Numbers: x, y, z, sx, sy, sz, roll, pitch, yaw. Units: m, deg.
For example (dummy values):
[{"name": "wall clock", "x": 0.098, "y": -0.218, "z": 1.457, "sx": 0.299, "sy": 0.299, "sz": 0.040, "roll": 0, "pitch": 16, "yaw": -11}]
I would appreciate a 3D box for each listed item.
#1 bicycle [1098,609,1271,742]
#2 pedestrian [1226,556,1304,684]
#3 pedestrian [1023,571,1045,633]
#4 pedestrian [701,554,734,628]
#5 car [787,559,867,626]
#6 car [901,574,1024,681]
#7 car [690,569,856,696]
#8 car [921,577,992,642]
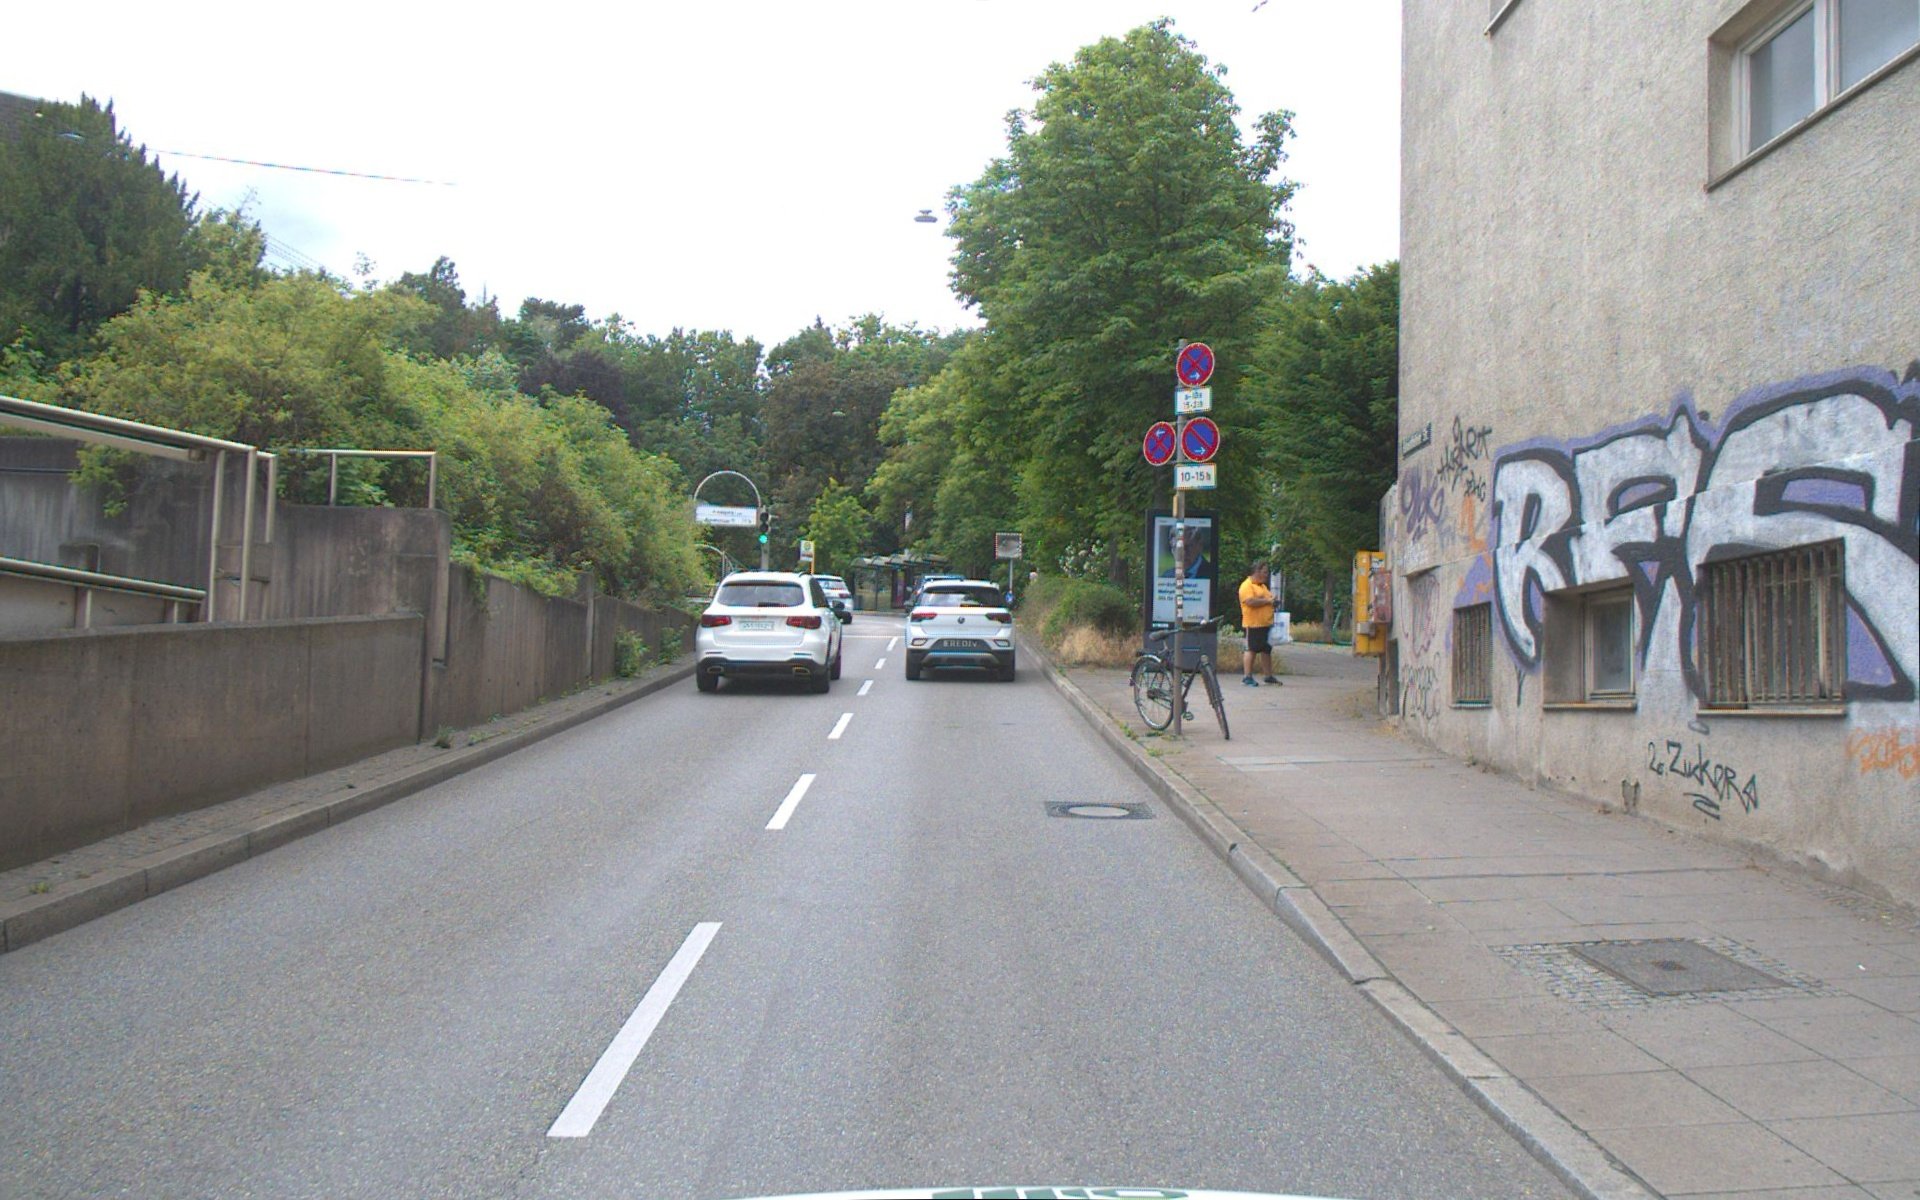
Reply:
[{"name": "bicycle", "x": 2.123, "y": 0.684, "z": 15.949, "sx": 0.631, "sy": 1.163, "sz": 2.049, "roll": -2, "pitch": 1, "yaw": -25}, {"name": "pedestrian", "x": 4.260, "y": 0.271, "z": 23.149, "sx": 0.819, "sy": 1.742, "sz": 0.818, "roll": 0, "pitch": 0, "yaw": -15}, {"name": "pedestrian", "x": 2.091, "y": 0.049, "z": 46.658, "sx": 0.602, "sy": 1.742, "sz": 0.727, "roll": 0, "pitch": 0, "yaw": 3}, {"name": "pedestrian", "x": -6.340, "y": -0.240, "z": 43.209, "sx": 0.690, "sy": 1.893, "sz": 0.614, "roll": 1, "pitch": 0, "yaw": 6}, {"name": "car", "x": -4.217, "y": -0.250, "z": 51.896, "sx": 1.958, "sy": 1.914, "sz": 3.989, "roll": 3, "pitch": 0, "yaw": -12}, {"name": "car", "x": 0.051, "y": 0.414, "z": 27.160, "sx": 1.826, "sy": 1.583, "sz": 3.894, "roll": 2, "pitch": 0, "yaw": 0}, {"name": "car", "x": -2.623, "y": 0.417, "z": 24.167, "sx": 1.838, "sy": 1.681, "sz": 4.342, "roll": -1, "pitch": 0, "yaw": 1}, {"name": "car", "x": -0.110, "y": 0.238, "z": 45.251, "sx": 1.823, "sy": 1.660, "sz": 3.958, "roll": 1, "pitch": 0, "yaw": -1}]
